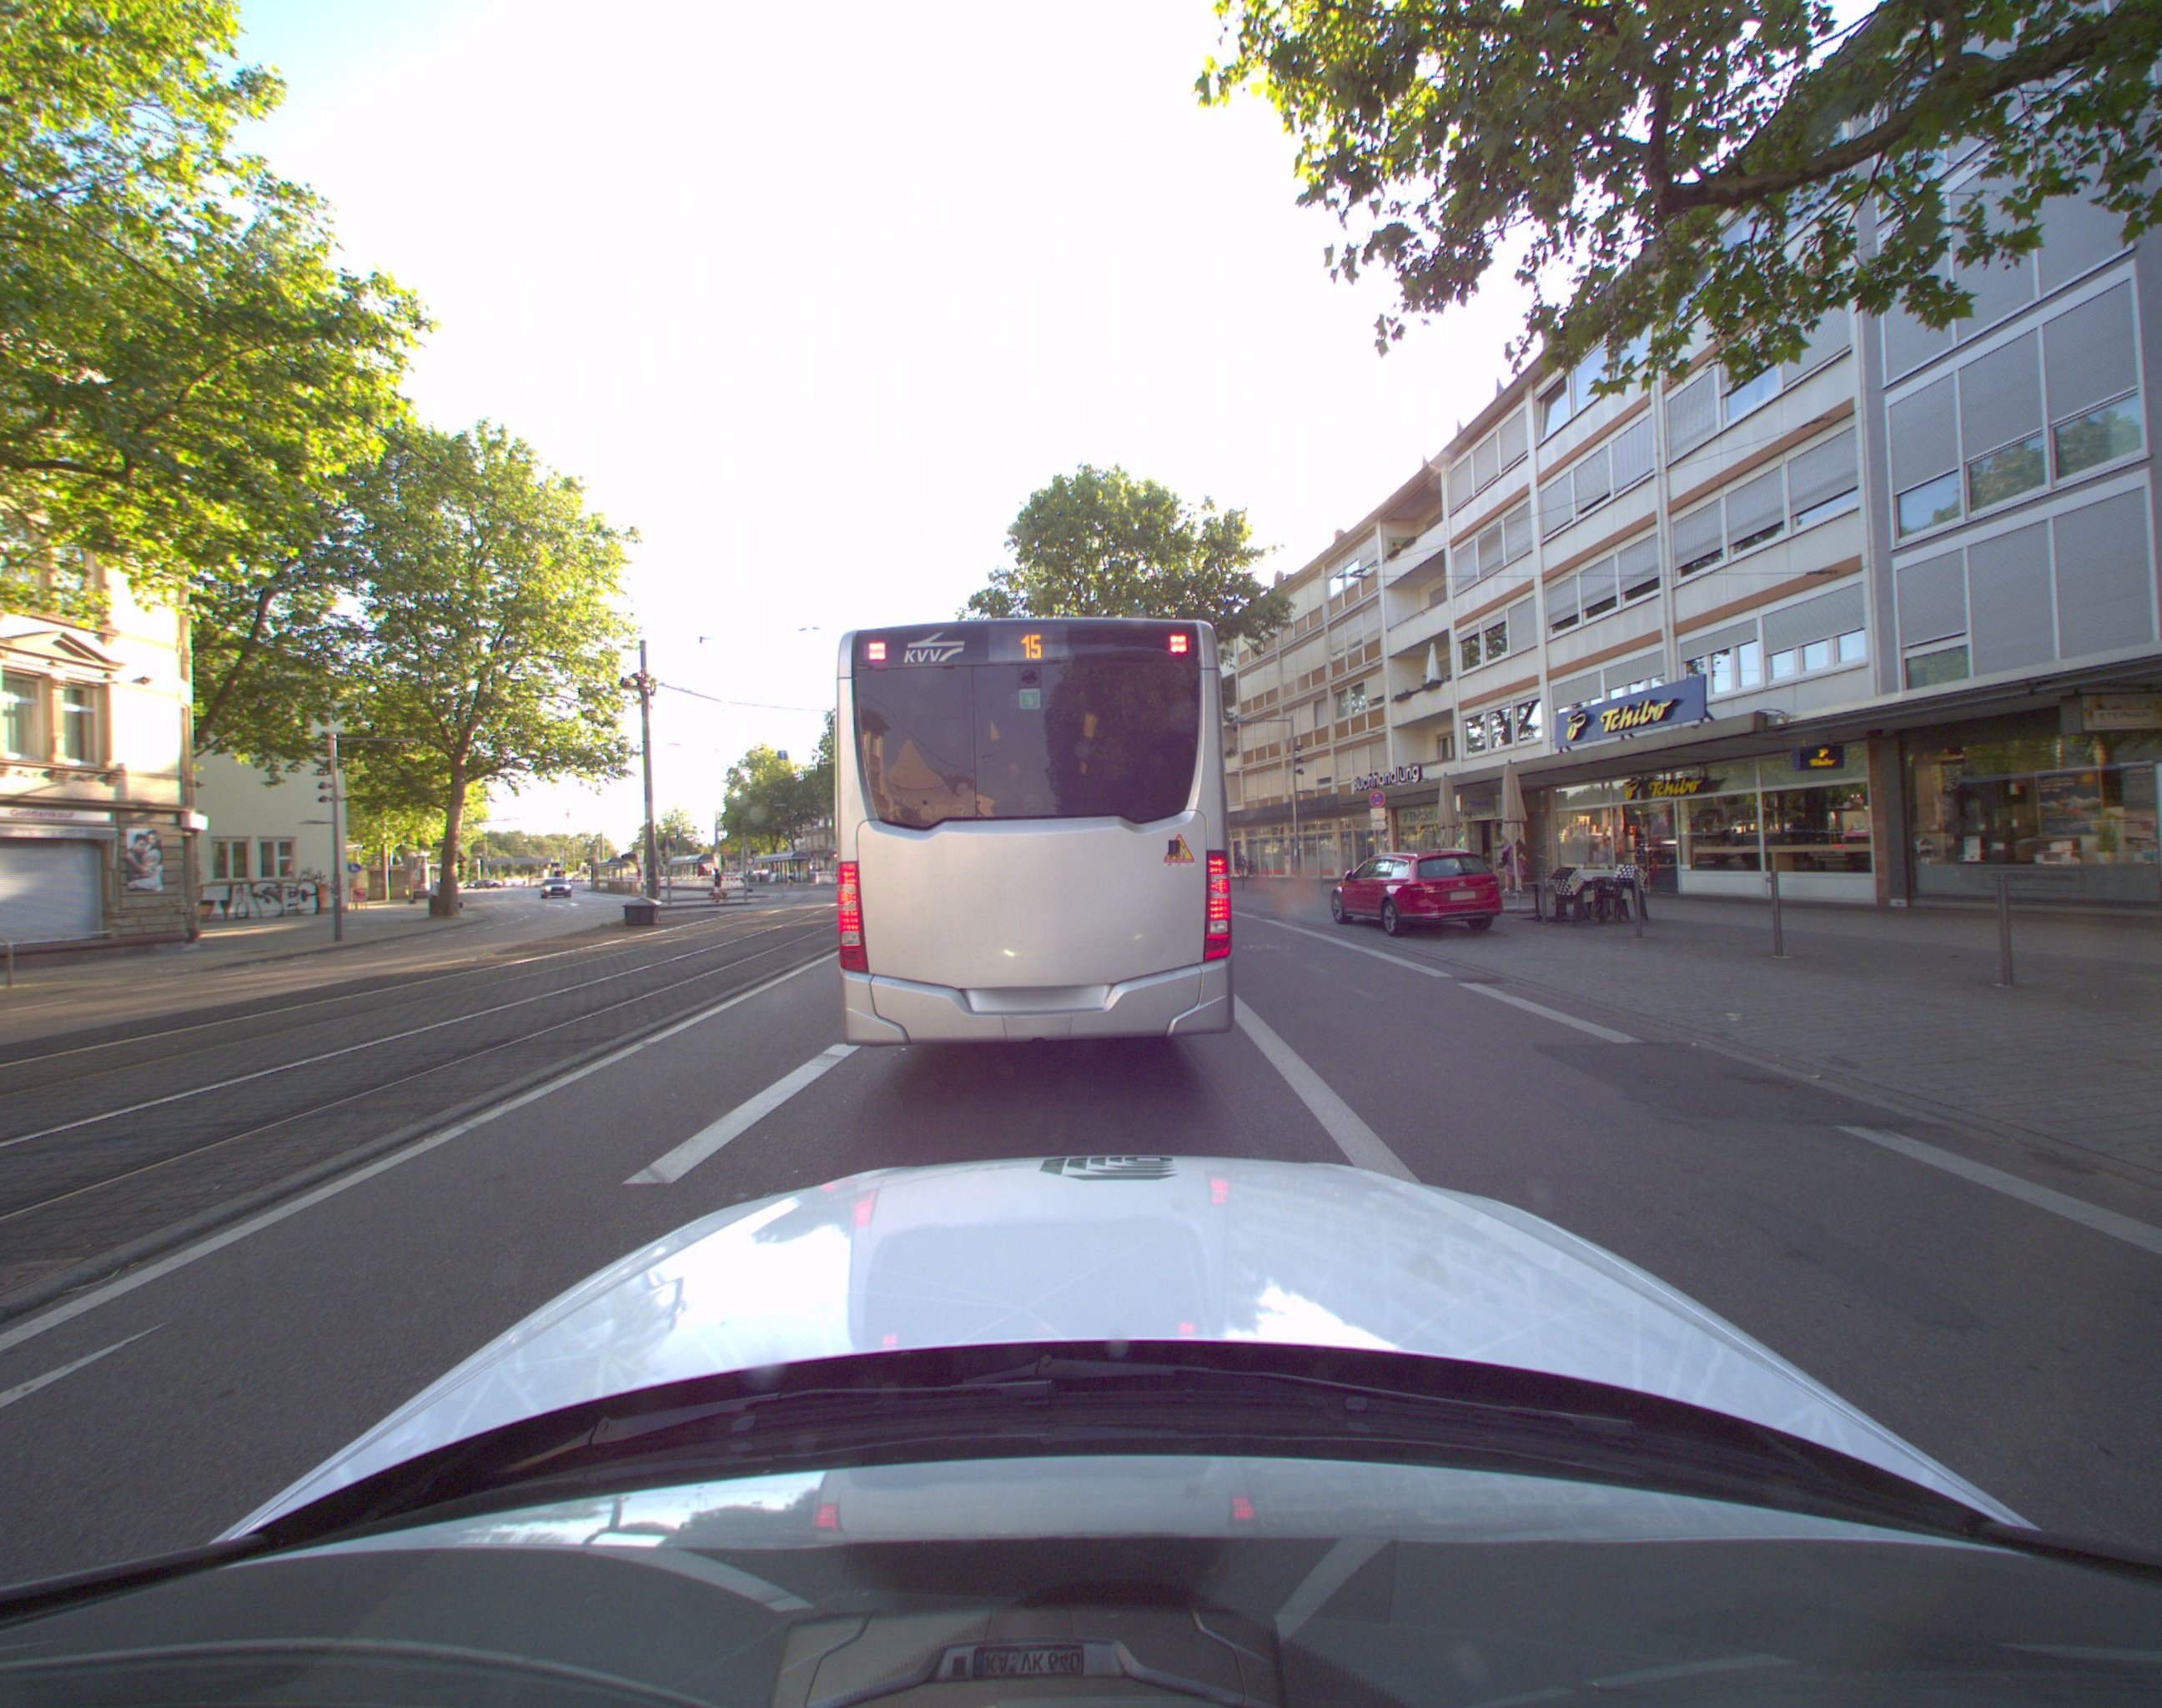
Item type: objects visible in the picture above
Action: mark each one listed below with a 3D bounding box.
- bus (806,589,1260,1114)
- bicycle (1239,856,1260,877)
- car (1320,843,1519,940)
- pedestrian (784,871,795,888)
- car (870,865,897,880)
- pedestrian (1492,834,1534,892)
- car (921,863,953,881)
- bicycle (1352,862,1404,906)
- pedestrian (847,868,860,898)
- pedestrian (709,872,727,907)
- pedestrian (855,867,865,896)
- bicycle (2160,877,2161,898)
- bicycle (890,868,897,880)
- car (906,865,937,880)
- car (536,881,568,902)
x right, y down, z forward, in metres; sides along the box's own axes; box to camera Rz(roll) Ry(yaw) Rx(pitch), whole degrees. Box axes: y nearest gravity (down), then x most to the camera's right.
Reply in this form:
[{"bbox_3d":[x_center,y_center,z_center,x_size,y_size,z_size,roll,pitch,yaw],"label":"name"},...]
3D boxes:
[{"bbox_3d":[-0.281,0.028,10.065,2.649,3.099,10.214,-2,-1,0],"label":"bus"},{"bbox_3d":[9.361,0.691,45.355,0.438,1.092,1.453,-5,0,-18],"label":"bicycle"},{"bbox_3d":[6.354,0.638,15.938,1.774,1.496,4.563,-4,0,-2],"label":"car"},{"bbox_3d":[-22.690,1.983,63.418,0.779,1.303,0.590,-2,-1,-19],"label":"pedestrian"},{"bbox_3d":[-21.536,2.042,88.702,1.675,1.468,3.375,-6,2,-36],"label":"car"},{"bbox_3d":[11.956,0.241,22.562,0.638,1.552,0.806,-2,-1,-6],"label":"pedestrian"},{"bbox_3d":[-13.793,1.760,78.137,1.675,1.516,3.376,-6,2,-35],"label":"car"},{"bbox_3d":[7.841,0.776,21.552,0.511,1.070,1.657,-4,0,-7],"label":"bicycle"},{"bbox_3d":[-11.605,1.478,41.595,0.522,1.504,0.589,-2,-1,-21],"label":"pedestrian"},{"bbox_3d":[-18.192,1.781,40.822,0.426,1.710,0.681,-1,-1,33],"label":"pedestrian"},{"bbox_3d":[-11.473,1.413,42.258,0.410,1.504,0.513,-2,-1,-22],"label":"pedestrian"},{"bbox_3d":[8.712,0.670,5.493,0.294,1.040,1.711,-5,0,-12],"label":"bicycle"},{"bbox_3d":[-19.705,2.098,85.556,0.508,1.211,2.079,-2,0,-19],"label":"bicycle"},{"bbox_3d":[-16.000,1.852,81.507,1.675,1.394,3.374,-6,2,-37],"label":"car"},{"bbox_3d":[-40.248,2.796,61.927,1.900,1.472,4.161,-2,-1,-35],"label":"car"}]
